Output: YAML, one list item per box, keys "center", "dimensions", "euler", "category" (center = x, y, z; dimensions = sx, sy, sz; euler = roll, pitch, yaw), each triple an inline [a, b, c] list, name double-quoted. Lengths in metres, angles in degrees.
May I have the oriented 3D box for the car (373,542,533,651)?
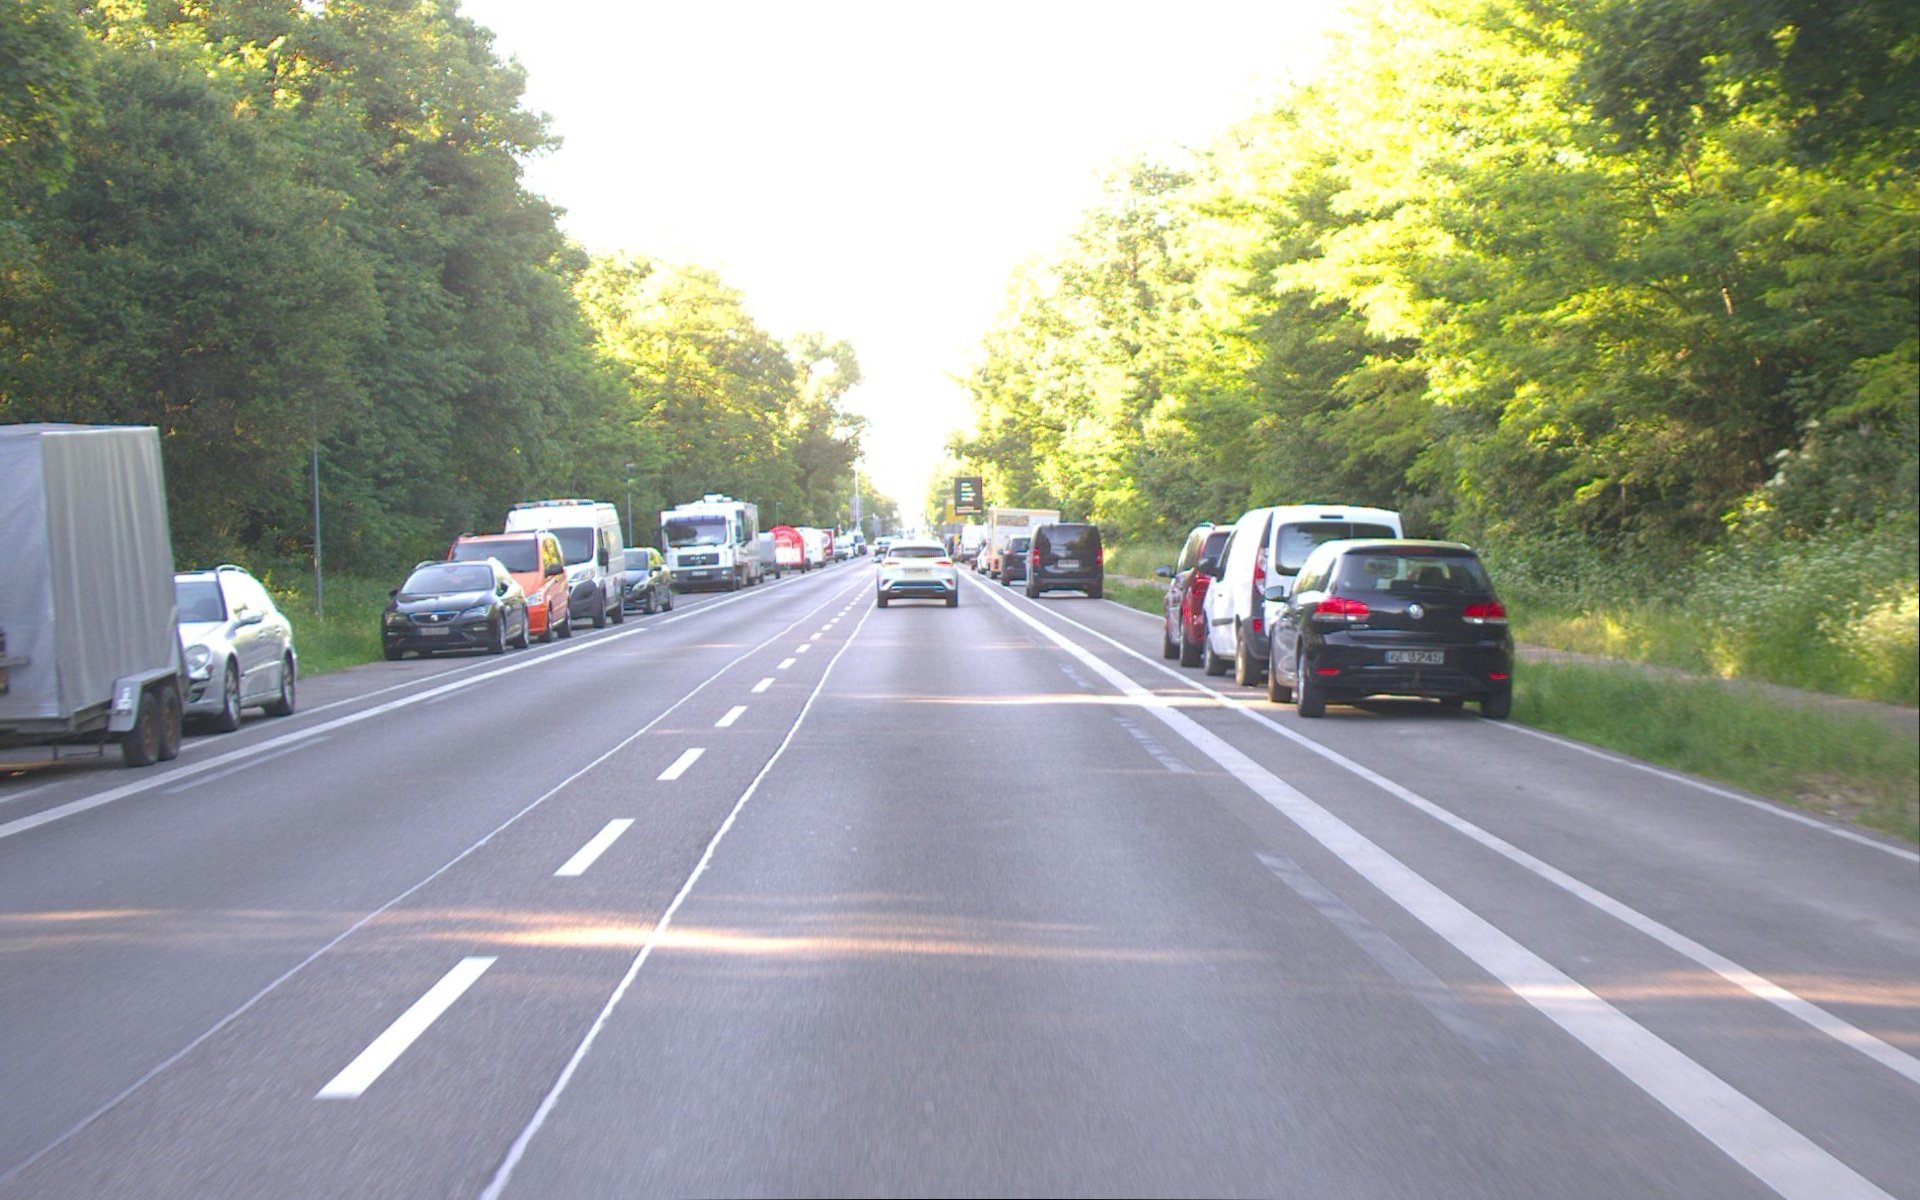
- center: [-7.642, -0.094, 52.126]
  dimensions: [1.731, 1.473, 4.324]
  euler: [-3, 1, 0]
  category: "car"

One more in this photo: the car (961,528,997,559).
- center: [0.933, -2.796, 170.200]
  dimensions: [1.656, 1.473, 3.754]
  euler: [-1, 1, -1]
  category: "car"

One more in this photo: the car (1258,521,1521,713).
- center: [3.597, 0.089, 29.428]
  dimensions: [1.690, 1.519, 4.150]
  euler: [0, 1, 0]
  category: "car"

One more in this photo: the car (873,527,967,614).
- center: [-0.884, -0.693, 77.876]
  dimensions: [2.029, 1.834, 4.029]
  euler: [-1, 1, 0]
  category: "car"

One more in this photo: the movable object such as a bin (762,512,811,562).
- center: [-8.911, -3.251, 177.210]
  dimensions: [2.322, 2.493, 4.000]
  euler: [-1, 1, -1]
  category: "movable object such as a bin"

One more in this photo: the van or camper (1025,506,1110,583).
- center: [2.763, -1.457, 89.280]
  dimensions: [1.993, 1.925, 5.199]
  euler: [0, 1, 0]
  category: "van or camper"

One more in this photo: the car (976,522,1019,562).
- center: [1.628, -2.535, 150.035]
  dimensions: [1.732, 1.678, 4.000]
  euler: [-1, 1, -1]
  category: "car"

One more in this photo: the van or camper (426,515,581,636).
- center: [-7.693, -0.448, 58.374]
  dimensions: [1.923, 1.860, 4.863]
  euler: [-3, 1, 0]
  category: "van or camper"

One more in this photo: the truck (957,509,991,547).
- center: [0.878, -4.705, 225.108]
  dimensions: [2.097, 2.444, 5.680]
  euler: [-1, 1, -1]
  category: "truck"

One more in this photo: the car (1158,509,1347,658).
- center: [3.408, -0.232, 40.767]
  dimensions: [1.834, 1.655, 4.338]
  euler: [0, 1, 0]
  category: "car"

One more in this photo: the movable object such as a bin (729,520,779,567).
- center: [-9.156, -2.506, 152.913]
  dimensions: [1.953, 2.007, 4.000]
  euler: [-1, 1, -1]
  category: "movable object such as a bin"

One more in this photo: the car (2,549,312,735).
- center: [-7.186, 0.322, 31.219]
  dimensions: [1.797, 1.448, 4.626]
  euler: [-3, 1, -2]
  category: "car"

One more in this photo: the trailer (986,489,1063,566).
- center: [2.475, -2.812, 134.026]
  dimensions: [2.757, 2.860, 6.589]
  euler: [-1, 1, -1]
  category: "trailer"

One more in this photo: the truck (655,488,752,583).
- center: [-8.752, -2.219, 118.102]
  dimensions: [2.707, 3.083, 7.990]
  euler: [-1, 1, 0]
  category: "truck"

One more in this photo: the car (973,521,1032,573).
- center: [1.361, -1.738, 111.964]
  dimensions: [1.841, 1.656, 4.000]
  euler: [-1, 1, 0]
  category: "car"

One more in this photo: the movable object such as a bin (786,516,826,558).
- center: [-9.576, -3.927, 214.201]
  dimensions: [2.322, 2.493, 4.000]
  euler: [-1, 1, -1]
  category: "movable object such as a bin"

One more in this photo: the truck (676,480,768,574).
- center: [-8.912, -2.759, 129.828]
  dimensions: [2.707, 3.336, 10.924]
  euler: [-1, 1, 0]
  category: "truck"

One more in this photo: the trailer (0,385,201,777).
- center: [-7.081, -0.123, 25.066]
  dimensions: [1.993, 2.588, 4.416]
  euler: [-4, 1, 0]
  category: "trailer"

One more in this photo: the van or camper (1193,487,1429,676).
- center: [3.562, -0.232, 35.628]
  dimensions: [1.951, 1.809, 4.381]
  euler: [-1, 1, 0]
  category: "van or camper"

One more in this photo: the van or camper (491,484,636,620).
- center: [-7.972, -1.003, 69.669]
  dimensions: [2.121, 2.563, 6.542]
  euler: [-2, 1, 0]
  category: "van or camper"

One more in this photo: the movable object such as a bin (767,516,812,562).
- center: [-9.490, -3.421, 191.803]
  dimensions: [2.322, 2.493, 4.000]
  euler: [-1, 1, -1]
  category: "movable object such as a bin"

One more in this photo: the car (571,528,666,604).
- center: [-8.093, -0.821, 81.774]
  dimensions: [1.781, 1.678, 4.378]
  euler: [-3, 1, 0]
  category: "car"
